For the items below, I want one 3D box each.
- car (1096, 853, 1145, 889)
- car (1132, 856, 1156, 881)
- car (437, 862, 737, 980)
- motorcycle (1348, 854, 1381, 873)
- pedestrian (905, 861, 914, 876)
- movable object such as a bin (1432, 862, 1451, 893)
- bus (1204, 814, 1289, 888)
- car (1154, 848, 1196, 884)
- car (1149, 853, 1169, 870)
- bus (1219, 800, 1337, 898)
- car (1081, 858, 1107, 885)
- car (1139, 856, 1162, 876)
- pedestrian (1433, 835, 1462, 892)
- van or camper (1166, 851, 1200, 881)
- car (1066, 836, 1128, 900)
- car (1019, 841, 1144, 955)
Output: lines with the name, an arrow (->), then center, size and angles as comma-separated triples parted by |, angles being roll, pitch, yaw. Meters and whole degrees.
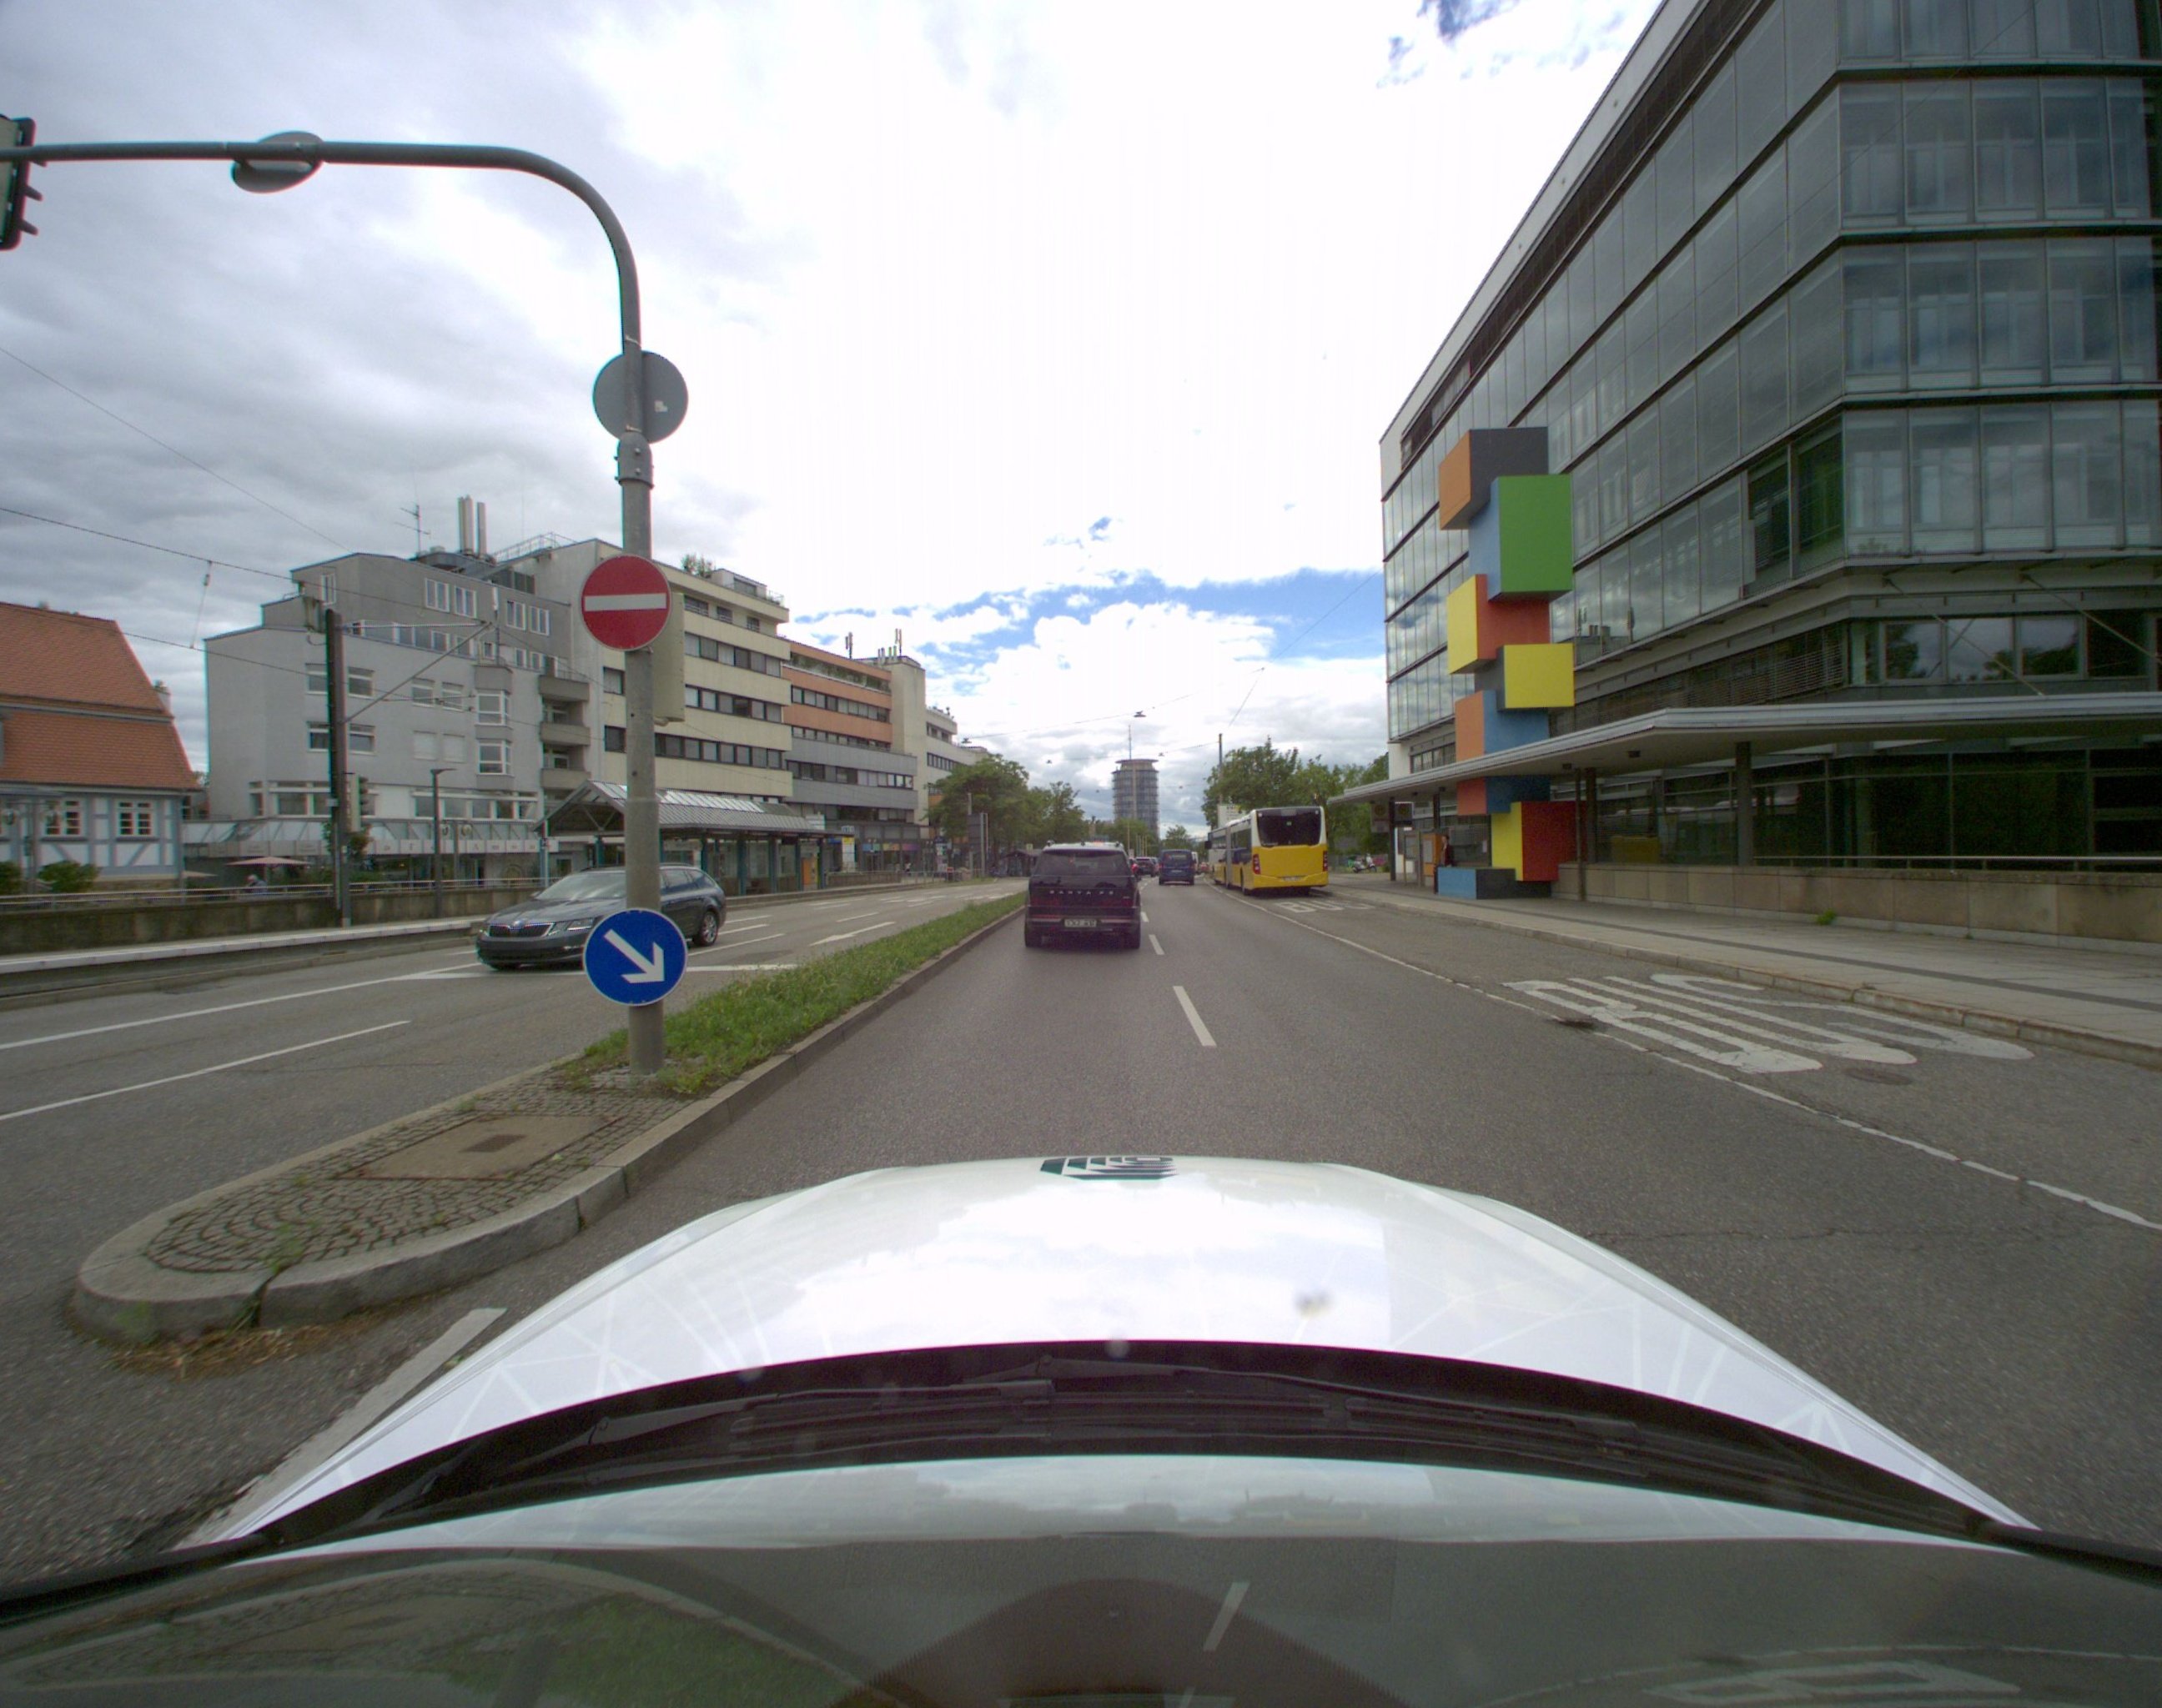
car -> 1.772, 0.745, 38.078 | 1.897, 1.542, 4.705 | 0, 1, -2
car -> 5.138, 1.168, 67.136 | 1.894, 1.859, 4.714 | 0, 1, 3
car -> -7.426, 0.905, 12.943 | 1.791, 1.455, 4.615 | -2, 0, 2
motorcycle -> 16.442, 0.527, 47.255 | 0.637, 1.070, 1.760 | -1, 0, -36
pedestrian -> -18.622, 1.571, 88.361 | 0.724, 1.673, 0.585 | -2, -1, 23
movable object such as a bin -> 10.517, 0.685, 23.768 | 0.354, 0.898, 0.462 | -1, 0, 4
bus -> 8.073, -0.116, 41.080 | 2.938, 3.111, 9.989 | -3, 0, 5
car -> 5.083, 0.589, 44.667 | 1.895, 1.859, 4.711 | 0, 1, 2
car -> 8.766, 0.863, 91.017 | 1.891, 1.834, 4.721 | -1, 0, 9
bus -> 7.289, -0.136, 31.587 | 2.952, 3.116, 9.256 | -3, 0, 5
car -> 1.018, 1.283, 62.124 | 1.895, 1.929, 4.711 | 0, 1, 2
car -> 6.834, 1.169, 79.389 | 1.891, 1.834, 4.721 | 0, 1, 9
pedestrian -> 10.964, 0.285, 24.376 | 0.522, 1.673, 0.734 | -1, 0, 4
van or camper -> 7.204, 0.800, 57.955 | 1.986, 1.917, 4.411 | -1, 1, 2
car -> 0.555, 0.394, 27.103 | 1.895, 1.969, 4.638 | 0, 1, 1
car -> 0.053, 0.635, 14.559 | 1.895, 1.731, 4.447 | 0, 1, 1
